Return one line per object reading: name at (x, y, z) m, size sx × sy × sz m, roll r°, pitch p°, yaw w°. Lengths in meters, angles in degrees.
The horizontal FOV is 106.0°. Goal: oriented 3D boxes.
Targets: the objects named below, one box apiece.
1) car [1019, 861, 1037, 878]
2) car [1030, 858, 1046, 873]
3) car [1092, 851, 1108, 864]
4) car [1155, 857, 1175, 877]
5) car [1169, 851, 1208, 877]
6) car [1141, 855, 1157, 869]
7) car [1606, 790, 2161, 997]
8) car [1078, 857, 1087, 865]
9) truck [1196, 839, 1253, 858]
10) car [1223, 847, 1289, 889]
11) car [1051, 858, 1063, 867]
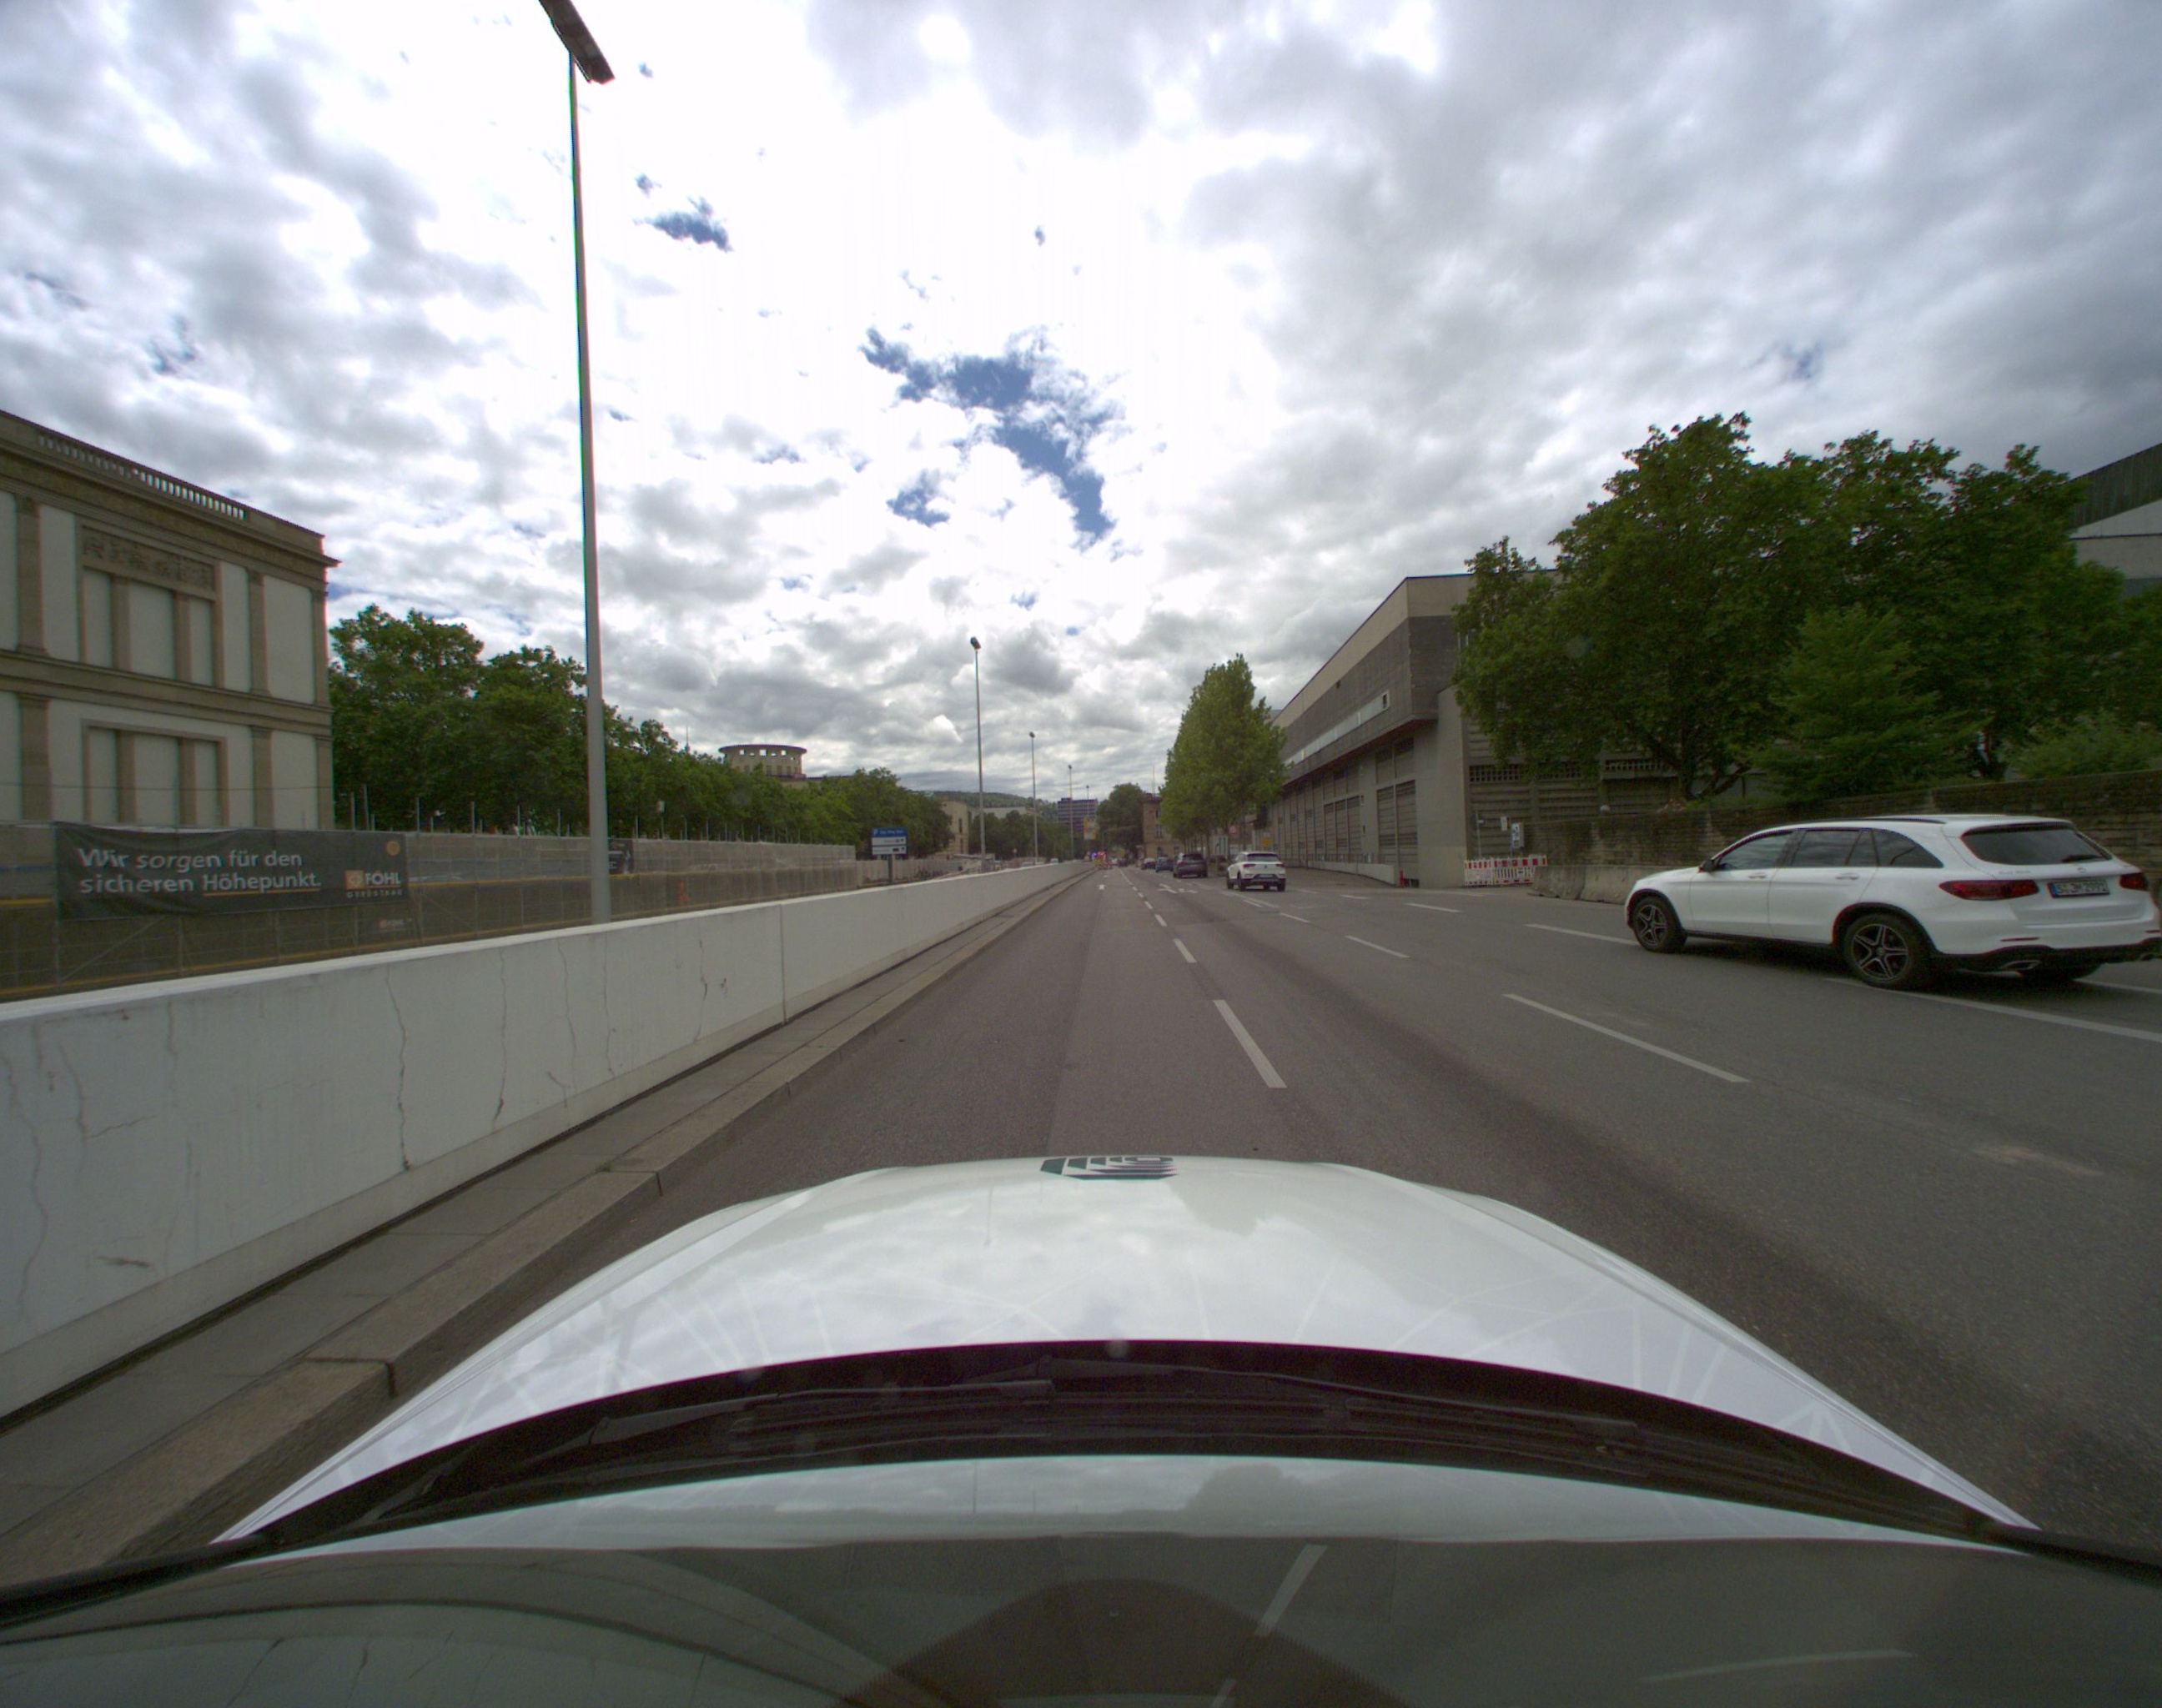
car at (-6.975, 2.047, 107.683) m, size 1.986 × 2.013 × 4.003 m, roll -2°, pitch 1°, yaw 2°
car at (-6.407, 1.713, 121.348) m, size 1.986 × 2.013 × 4.003 m, roll -2°, pitch 1°, yaw 2°
car at (3.780, 0.714, 161.620) m, size 2.568 × 2.374 × 5.537 m, roll -3°, pitch 0°, yaw 7°
car at (8.363, 1.264, 80.766) m, size 1.813 × 1.740 × 4.489 m, roll -3°, pitch 0°, yaw 7°
car at (7.071, 0.600, 54.075) m, size 1.818 × 1.567 × 4.477 m, roll -2°, pitch 1°, yaw -2°
car at (8.824, 0.986, 105.480) m, size 1.813 × 1.740 × 4.489 m, roll -3°, pitch 0°, yaw 7°
car at (8.349, 0.349, 9.103) m, size 1.807 × 1.642 × 4.547 m, roll -3°, pitch -1°, yaw -3°
car at (0.291, 1.428, 162.178) m, size 1.745 × 1.568 × 4.330 m, roll -2°, pitch -1°, yaw 0°
truck at (26.250, -1.047, 149.235) m, size 9.988 × 3.051 × 2.571 m, roll -2°, pitch -2°, yaw 3°
car at (6.982, 0.565, 32.964) m, size 1.745 × 1.568 × 4.330 m, roll 0°, pitch -1°, yaw 0°
car at (-4.486, 1.542, 150.300) m, size 1.743 × 1.568 × 3.380 m, roll -5°, pitch -1°, yaw 3°
